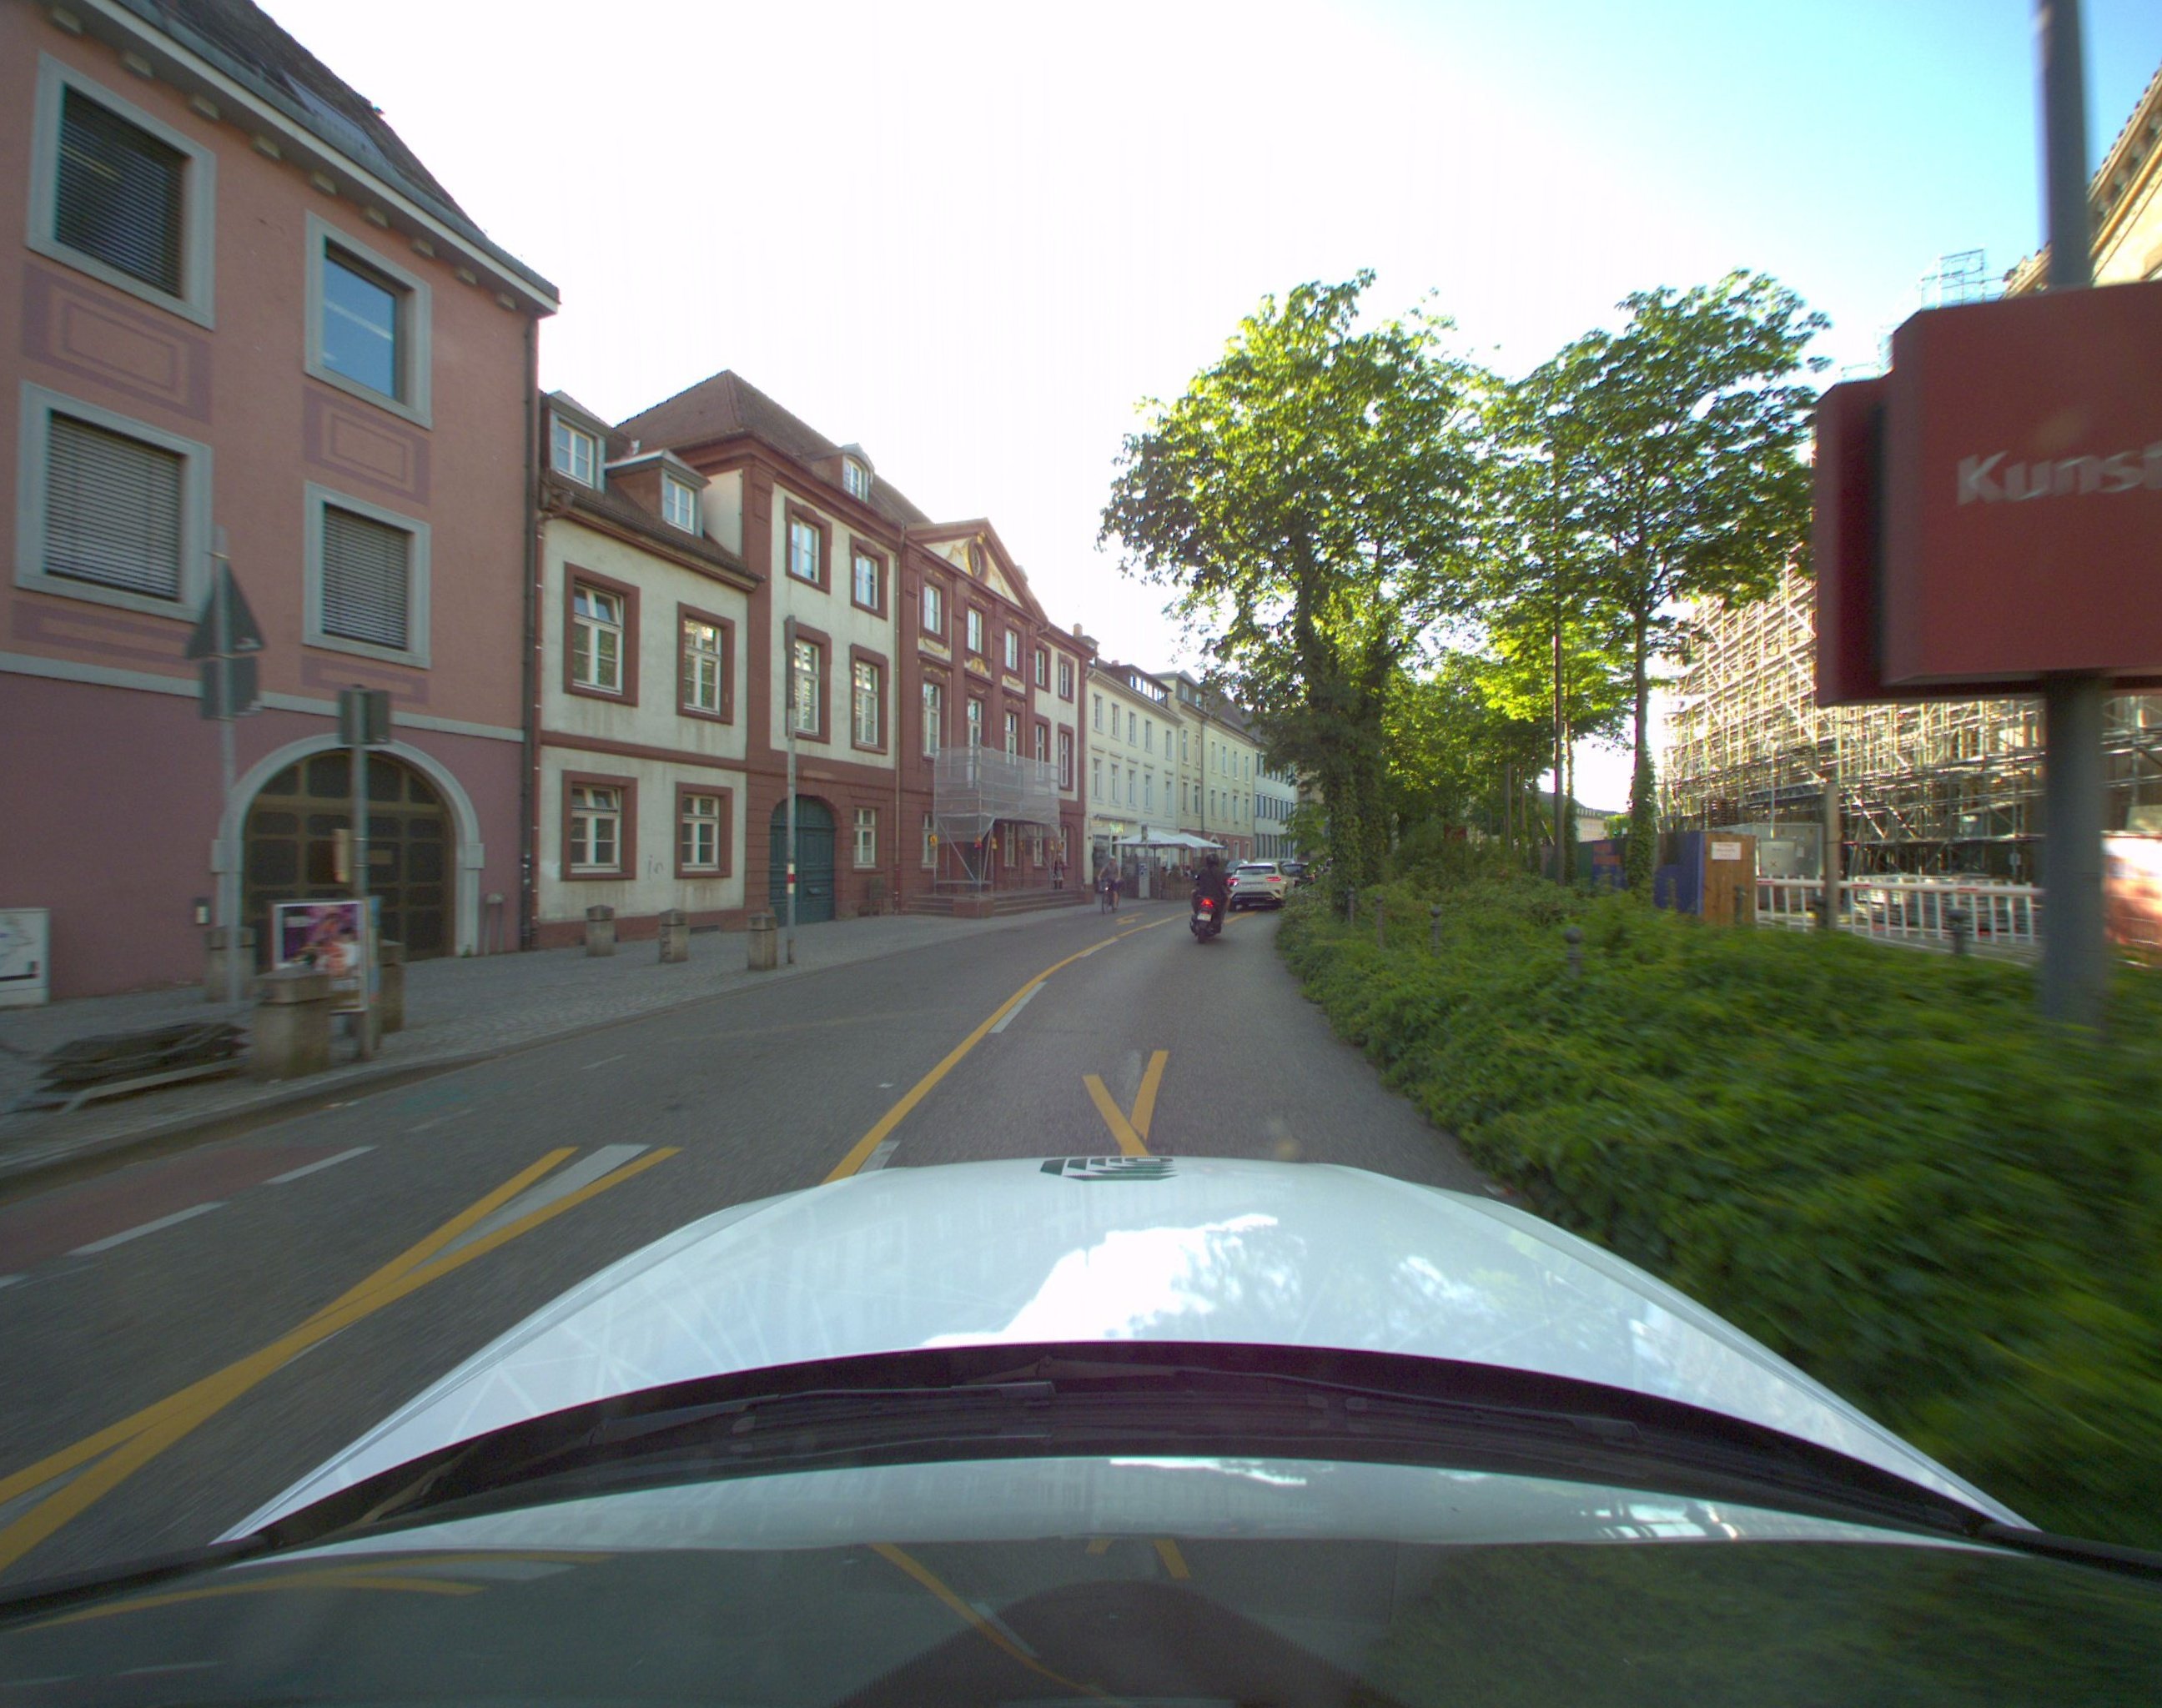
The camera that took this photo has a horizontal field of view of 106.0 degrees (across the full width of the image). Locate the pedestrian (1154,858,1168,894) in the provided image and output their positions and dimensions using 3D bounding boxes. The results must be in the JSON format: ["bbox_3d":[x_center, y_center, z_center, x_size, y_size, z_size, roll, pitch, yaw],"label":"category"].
[{"bbox_3d":[4.035,1.109,40.983,0.433,1.775,0.601,-1,-1,36],"label":"pedestrian"}]

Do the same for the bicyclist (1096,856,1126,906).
[{"bbox_3d":[0.978,0.869,26.617,0.737,1.583,0.799,0,0,22],"label":"bicyclist"}]

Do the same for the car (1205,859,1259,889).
[{"bbox_3d":[8.963,1.161,47.972,1.904,1.679,4.813,-1,-1,26],"label":"car"}]

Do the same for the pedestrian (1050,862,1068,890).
[{"bbox_3d":[-0.872,0.855,31.945,0.532,1.053,0.554,0,0,19],"label":"pedestrian"}]

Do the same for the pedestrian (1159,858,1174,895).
[{"bbox_3d":[4.134,1.101,39.473,0.590,1.775,0.442,-1,-1,32],"label":"pedestrian"}]

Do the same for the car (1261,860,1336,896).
[{"bbox_3d":[9.506,0.992,35.377,1.822,1.463,4.083,0,0,36],"label":"car"}]

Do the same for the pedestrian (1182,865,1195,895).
[{"bbox_3d":[5.253,1.255,39.897,0.466,1.433,0.505,0,-1,28],"label":"pedestrian"}]

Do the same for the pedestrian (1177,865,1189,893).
[{"bbox_3d":[5.170,1.273,41.345,0.519,1.391,0.491,-1,-1,20],"label":"pedestrian"}]

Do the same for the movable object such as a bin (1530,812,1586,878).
[{"bbox_3d":[35.830,-0.602,61.081,3.275,4.539,7.954,-2,-1,31],"label":"movable object such as a bin"}]

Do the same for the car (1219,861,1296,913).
[{"bbox_3d":[5.711,0.969,25.995,1.835,1.480,4.078,1,0,20],"label":"car"}]

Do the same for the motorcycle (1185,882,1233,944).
[{"bbox_3d":[2.490,1.103,15.703,0.791,1.066,1.731,1,0,12],"label":"motorcycle"}]

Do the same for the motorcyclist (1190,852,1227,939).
[{"bbox_3d":[2.494,0.783,15.875,0.652,1.650,0.653,1,0,13],"label":"motorcyclist"}]

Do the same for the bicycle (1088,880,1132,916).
[{"bbox_3d":[0.960,1.421,26.588,0.765,1.063,2.089,-1,0,22],"label":"bicycle"}]
